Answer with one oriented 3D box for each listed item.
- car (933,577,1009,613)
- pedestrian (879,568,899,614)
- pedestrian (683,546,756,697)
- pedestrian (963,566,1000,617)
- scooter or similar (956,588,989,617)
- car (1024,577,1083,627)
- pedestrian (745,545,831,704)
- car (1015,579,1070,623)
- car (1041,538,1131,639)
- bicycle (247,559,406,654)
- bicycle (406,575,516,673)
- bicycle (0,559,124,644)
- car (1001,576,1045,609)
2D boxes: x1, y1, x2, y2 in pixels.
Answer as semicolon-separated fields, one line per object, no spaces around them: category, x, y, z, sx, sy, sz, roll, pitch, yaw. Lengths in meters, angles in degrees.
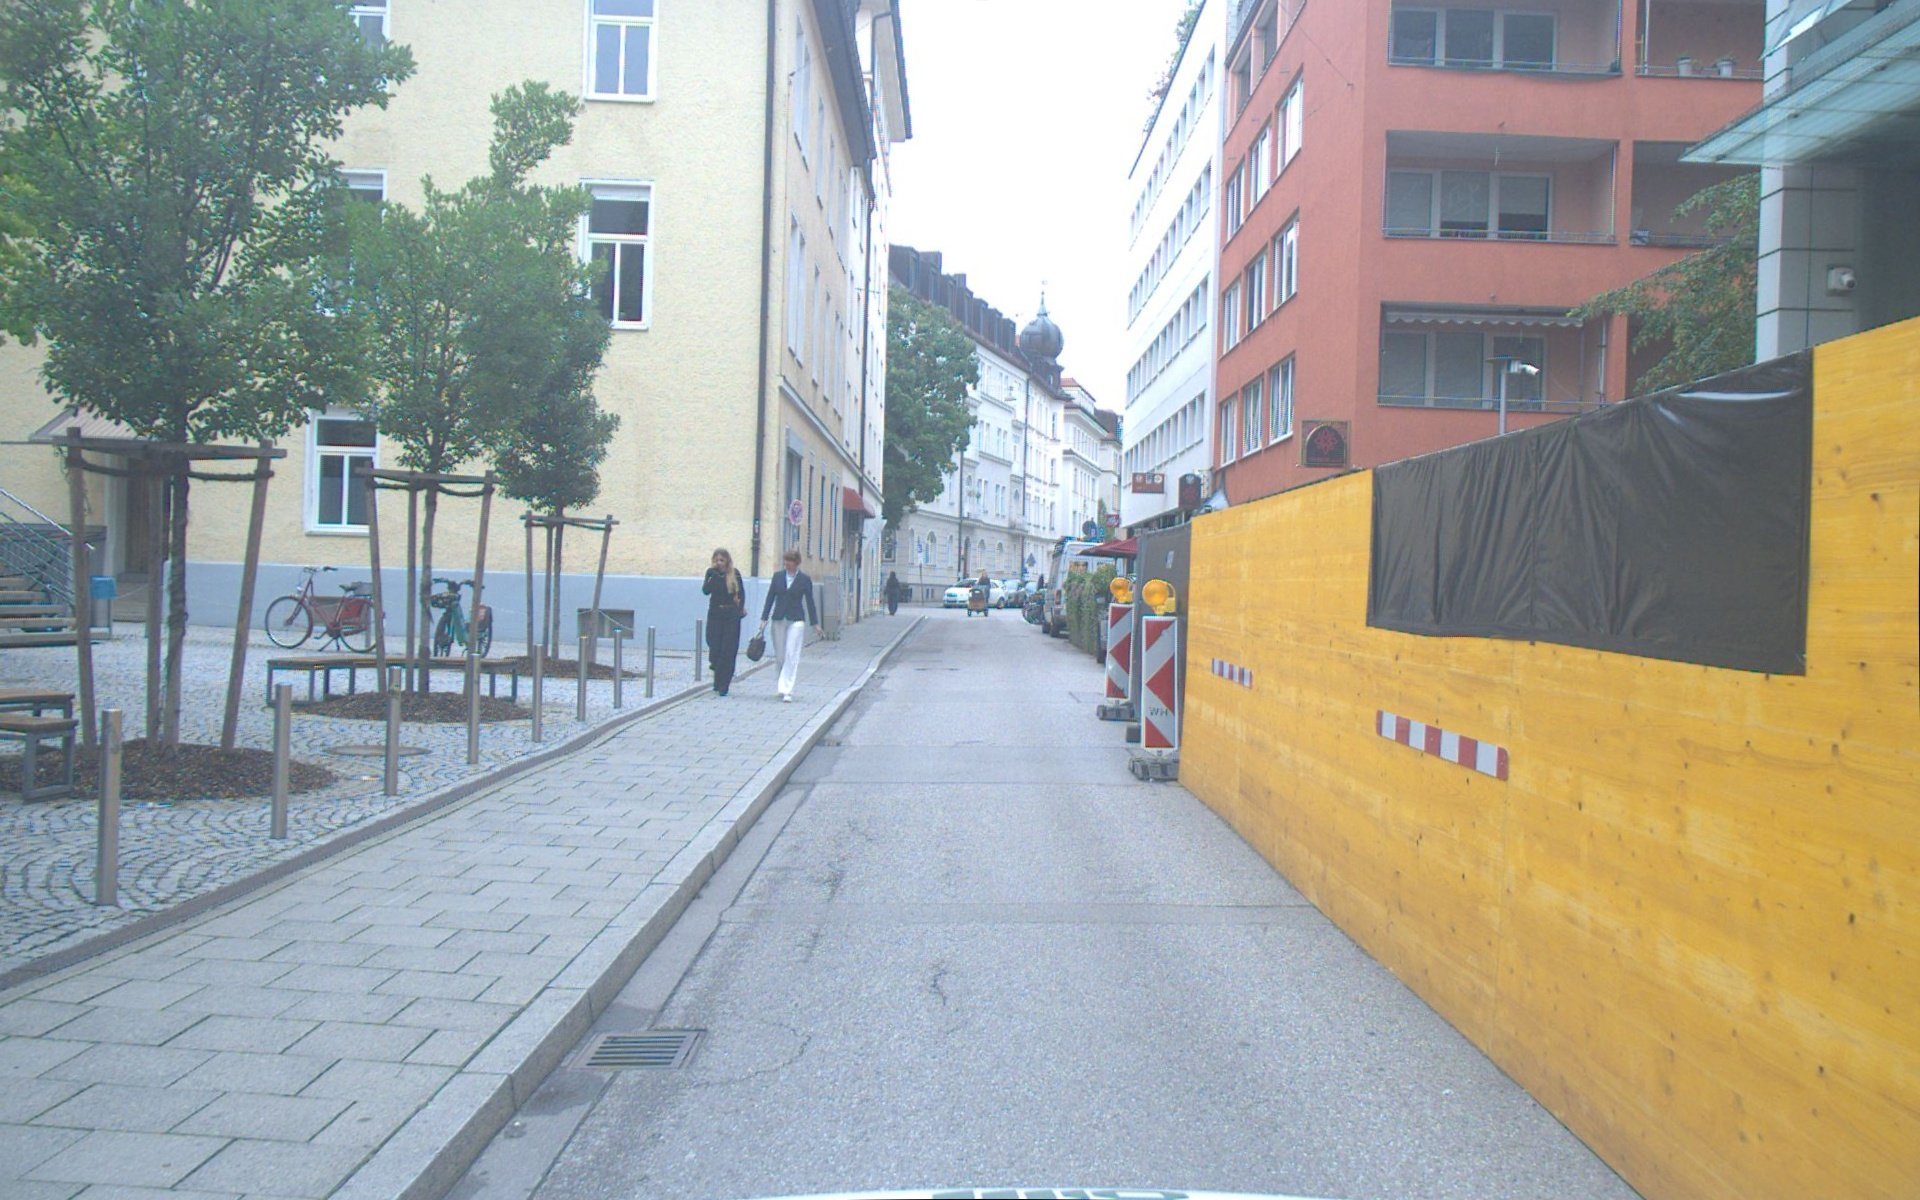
car;0.576;-0.246;80.551;1.663;1.601;3.985;3;1;36
pedestrian;-2.646;-0.336;61.666;0.621;1.704;0.517;3;0;-1
pedestrian;-2.752;0.240;18.989;0.656;1.676;0.761;3;0;-1
pedestrian;0.898;-0.347;69.196;1.109;2.048;1.410;3;0;16
scooter or similar;0.531;0.096;67.947;1.045;1.146;1.161;3;0;16
car;3.352;0.040;60.098;1.752;1.653;4.272;3;1;-1
pedestrian;-1.950;0.269;18.846;0.822;1.730;0.803;3;0;-1
car;3.197;0.023;64.756;1.774;1.590;4.274;3;0;-1
car;3.472;-0.336;46.387;1.953;2.580;4.974;3;1;-1
bicycle;-8.866;0.091;23.161;2.000;1.218;0.570;3;0;7
bicycle;-6.406;0.293;21.330;0.499;1.164;2.054;3;0;8
bicycle;-12.536;0.015;22.849;1.621;1.088;0.598;3;0;3
car;3.867;-0.426;101.001;1.977;1.937;4.294;1;0;12
